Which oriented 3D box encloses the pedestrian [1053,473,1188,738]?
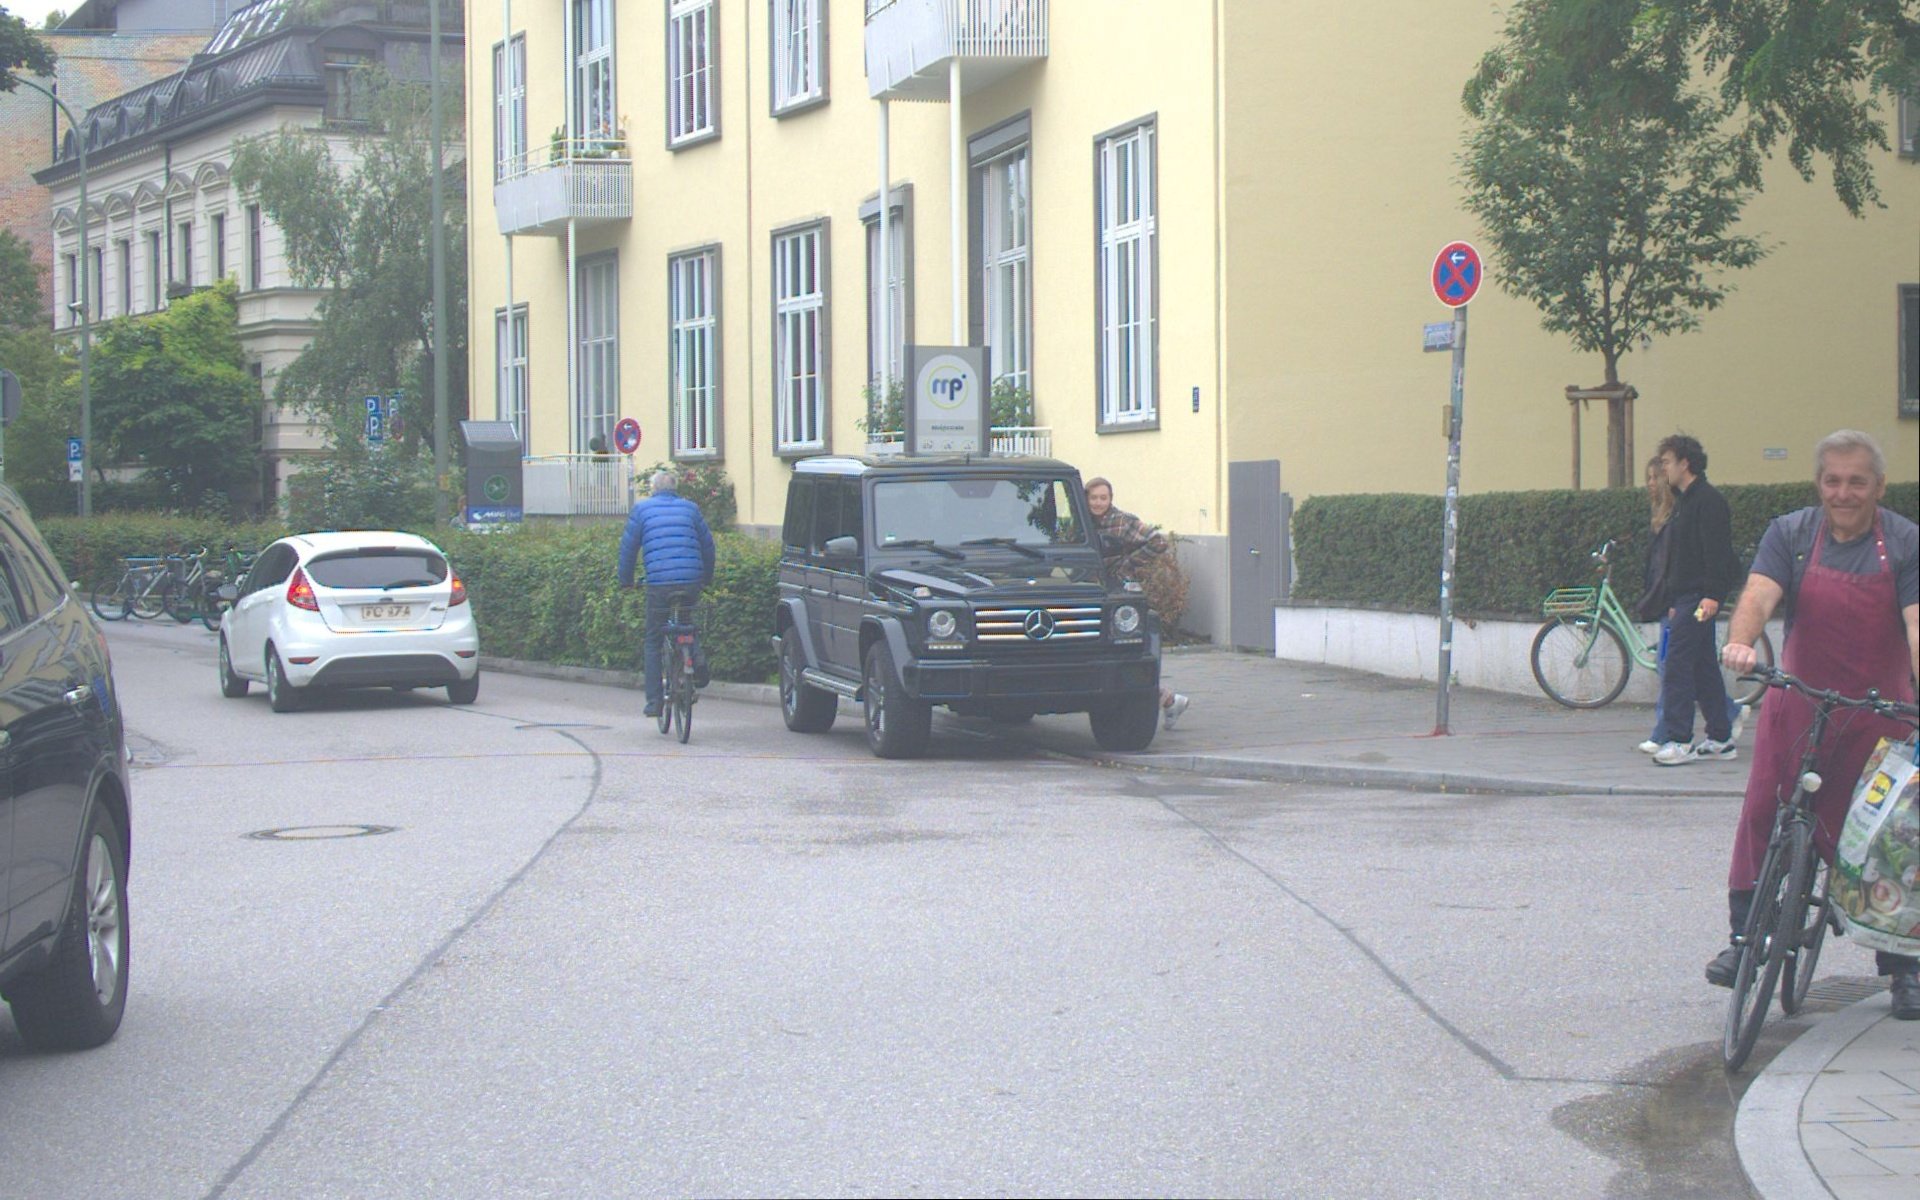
[{"bbox_3d":[1.080,0.021,23.326,0.848,1.751,0.954,-1,2,1],"label":"pedestrian"}]

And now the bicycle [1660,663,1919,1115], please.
[{"bbox_3d":[2.546,0.747,9.710,0.876,1.016,2.190,0,2,5],"label":"bicycle"}]

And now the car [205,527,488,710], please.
[{"bbox_3d":[-5.270,0.102,29.200,1.747,1.401,3.728,-1,2,-20],"label":"car"}]

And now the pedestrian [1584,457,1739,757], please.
[{"bbox_3d":[4.145,0.029,20.355,0.826,1.740,0.740,0,2,6],"label":"pedestrian"}]

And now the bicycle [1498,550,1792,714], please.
[{"bbox_3d":[4.668,0.225,23.517,1.948,1.081,0.527,-1,0,42],"label":"bicycle"}]

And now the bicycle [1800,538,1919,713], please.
[{"bbox_3d":[6.572,0.161,22.284,2.169,1.112,0.640,0,2,16],"label":"bicycle"}]

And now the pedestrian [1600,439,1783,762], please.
[{"bbox_3d":[4.159,-0.003,19.569,0.990,1.803,0.659,0,1,12],"label":"pedestrian"}]

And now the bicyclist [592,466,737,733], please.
[{"bbox_3d":[-2.026,-0.023,23.427,0.914,1.758,1.215,-1,2,-7],"label":"bicyclist"}]

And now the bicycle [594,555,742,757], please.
[{"bbox_3d":[-2.021,0.349,23.504,0.920,1.248,2.322,-1,2,-7],"label":"bicycle"}]

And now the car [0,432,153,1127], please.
[{"bbox_3d":[-3.362,0.459,8.272,1.993,1.713,4.616,-1,2,-4],"label":"car"}]

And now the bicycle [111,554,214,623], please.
[{"bbox_3d":[-12.537,-0.187,54.083,1.533,1.011,0.409,-3,3,-41],"label":"bicycle"}]

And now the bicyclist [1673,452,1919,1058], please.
[{"bbox_3d":[2.507,0.392,9.610,0.875,1.603,1.049,0,2,5],"label":"bicyclist"}]

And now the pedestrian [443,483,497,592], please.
[{"bbox_3d":[-7.734,-0.991,54.264,0.631,1.678,0.698,-2,2,-24],"label":"pedestrian"}]

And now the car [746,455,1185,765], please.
[{"bbox_3d":[-0.088,-0.020,23.502,1.873,1.881,4.620,-1,2,-14],"label":"car"}]
